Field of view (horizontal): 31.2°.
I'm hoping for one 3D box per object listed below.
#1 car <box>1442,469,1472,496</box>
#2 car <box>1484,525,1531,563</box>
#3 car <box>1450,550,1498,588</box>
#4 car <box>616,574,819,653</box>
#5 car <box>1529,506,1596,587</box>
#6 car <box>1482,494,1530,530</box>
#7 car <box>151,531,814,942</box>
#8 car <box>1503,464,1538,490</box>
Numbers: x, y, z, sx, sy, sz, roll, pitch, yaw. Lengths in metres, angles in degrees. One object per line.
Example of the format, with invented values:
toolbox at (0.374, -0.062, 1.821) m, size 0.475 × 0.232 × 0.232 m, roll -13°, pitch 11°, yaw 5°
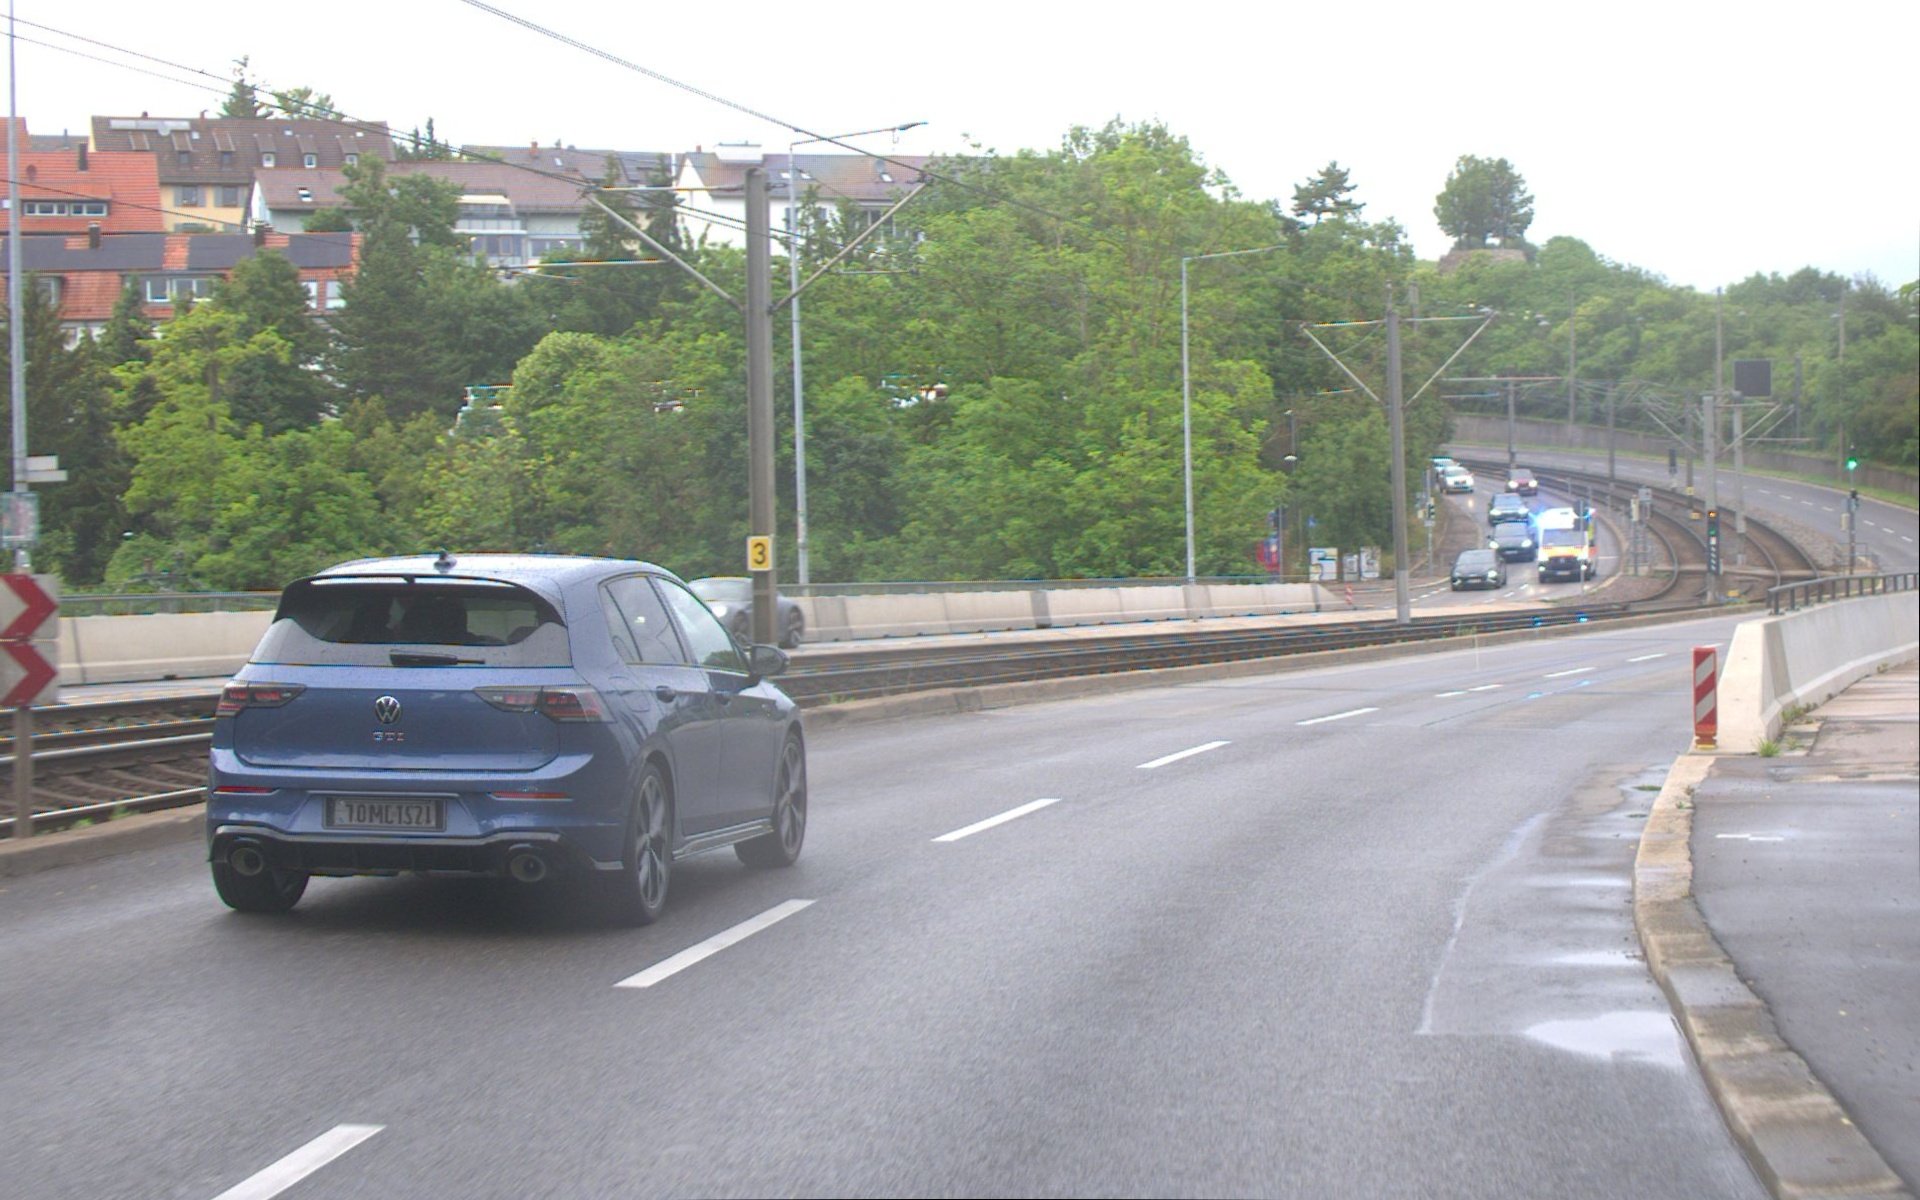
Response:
car at (30.567, -7.219, 211.353) m, size 1.821 × 1.510 × 4.527 m, roll -1°, pitch 0°, yaw 9°
car at (24.074, -2.461, 151.240) m, size 1.897 × 1.592 × 4.731 m, roll -2°, pitch 1°, yaw 7°
car at (19.998, -1.223, 133.714) m, size 1.817 × 1.431 × 4.739 m, roll 0°, pitch 1°, yaw 9°
car at (-4.223, 0.224, 60.710) m, size 1.838 × 1.310 × 4.614 m, roll -1°, pitch 0°, yaw 20°
car at (23.858, -2.103, 135.934) m, size 2.391 × 3.105 × 6.353 m, roll 0°, pitch 0°, yaw 12°
car at (28.353, -4.551, 178.593) m, size 1.969 × 1.592 × 5.183 m, roll -1°, pitch -1°, yaw 4°
car at (-1.868, 0.484, 14.734) m, size 1.764 × 1.496 × 3.999 m, roll 1°, pitch 0°, yaw 8°
car at (33.200, -7.283, 203.686) m, size 1.600 × 1.488 × 3.018 m, roll -2°, pitch 1°, yaw 1°
